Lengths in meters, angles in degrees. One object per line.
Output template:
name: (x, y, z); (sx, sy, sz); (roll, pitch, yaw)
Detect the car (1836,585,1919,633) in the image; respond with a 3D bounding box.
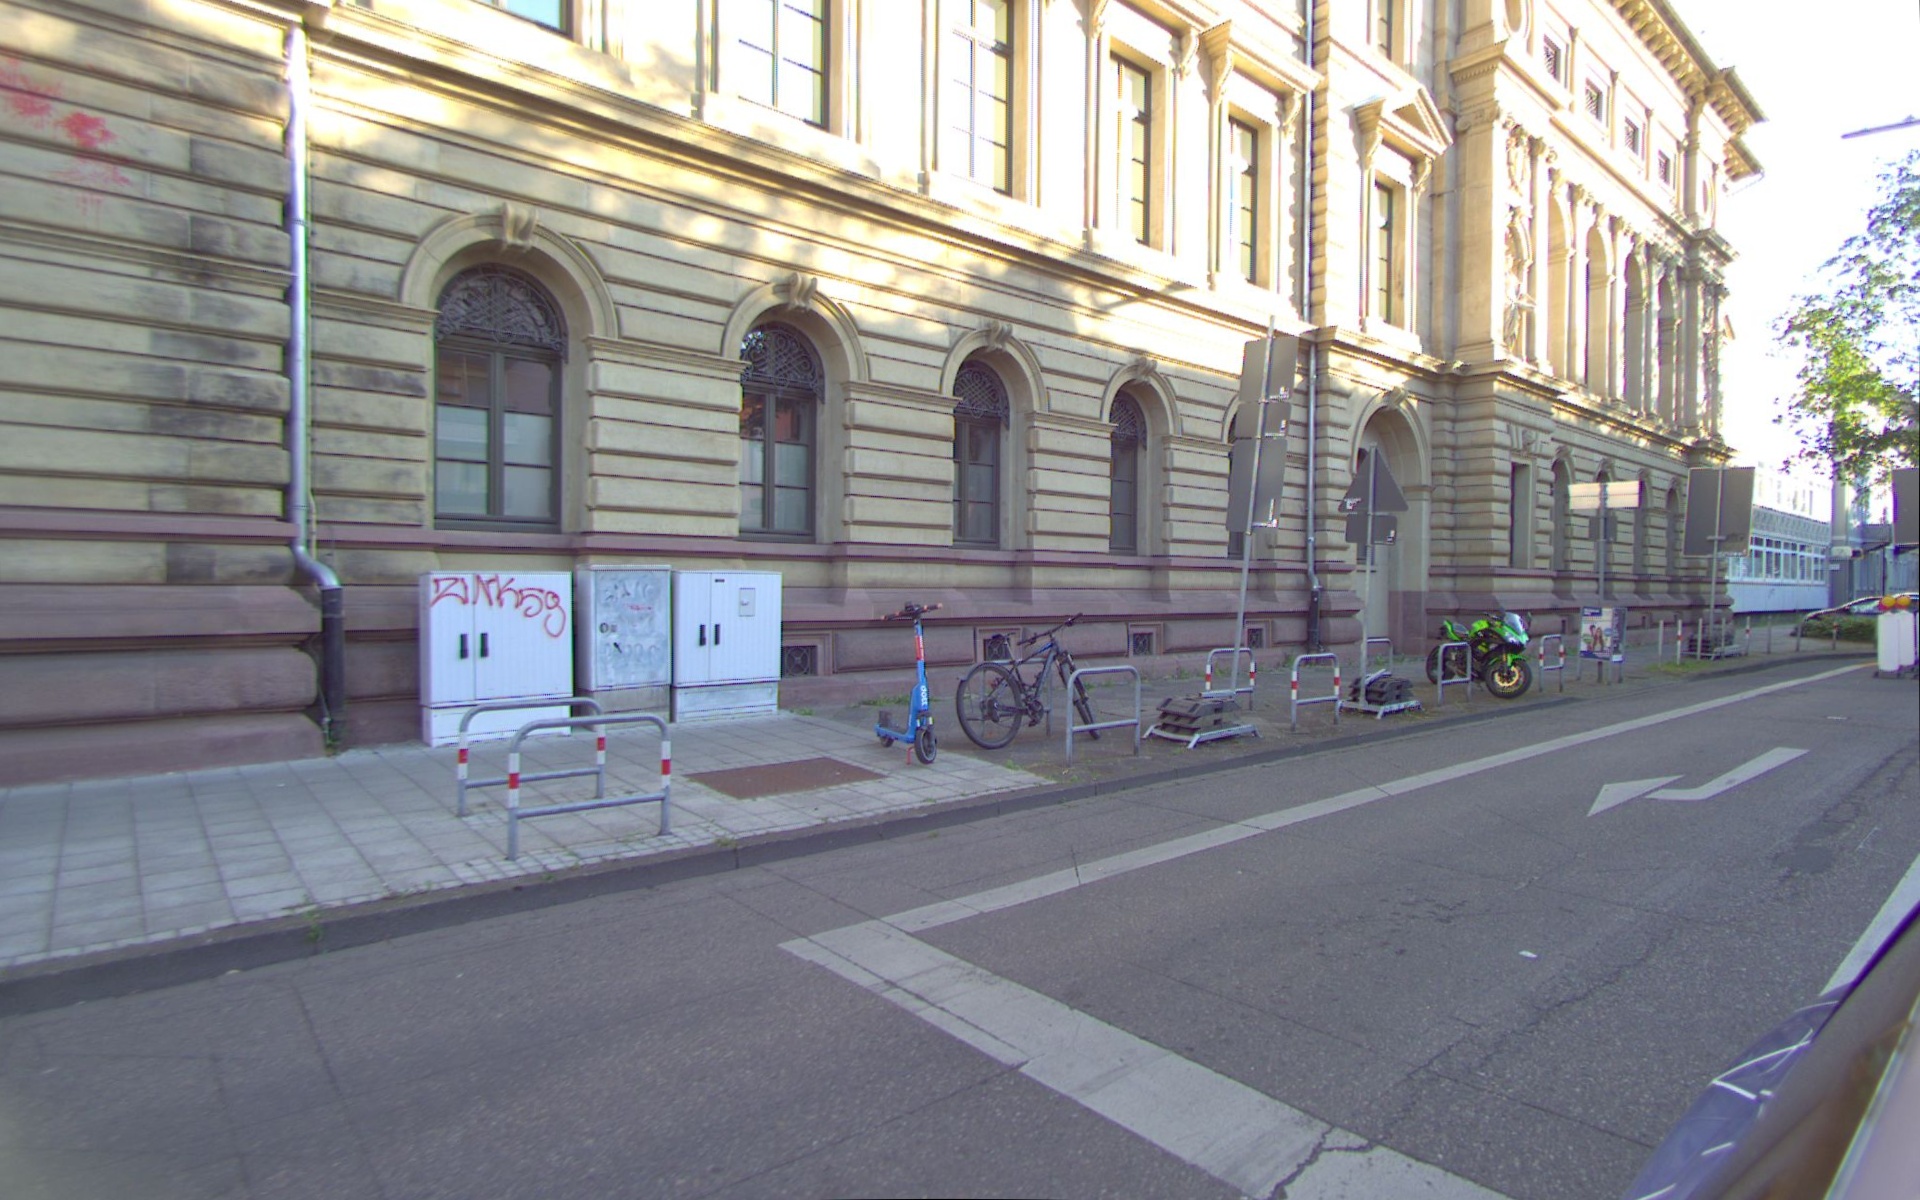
car: (32.787, 0.344, 34.368); (1.643, 1.513, 4.367); (0, 4, -40)

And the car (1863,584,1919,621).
car: (41.416, 0.132, 43.003); (1.855, 1.512, 4.363); (0, 3, -42)

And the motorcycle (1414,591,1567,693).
motorcycle: (7.401, 0.544, 14.264); (0.695, 1.230, 2.109); (1, 3, -11)

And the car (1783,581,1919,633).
car: (30.164, 0.210, 33.476); (1.804, 1.482, 4.362); (-1, 4, -44)

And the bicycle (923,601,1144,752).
bicycle: (0.686, 0.617, 9.052); (1.910, 1.148, 0.829); (0, 4, -41)

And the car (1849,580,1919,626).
car: (37.256, 0.163, 38.924); (2.020, 1.662, 4.364); (0, 4, -42)

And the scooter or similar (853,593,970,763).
scooter or similar: (-0.417, 0.579, 8.178); (0.572, 1.210, 1.136); (0, 3, -22)

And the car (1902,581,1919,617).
car: (45.596, 0.039, 45.682); (1.704, 1.644, 4.364); (0, 3, -42)
